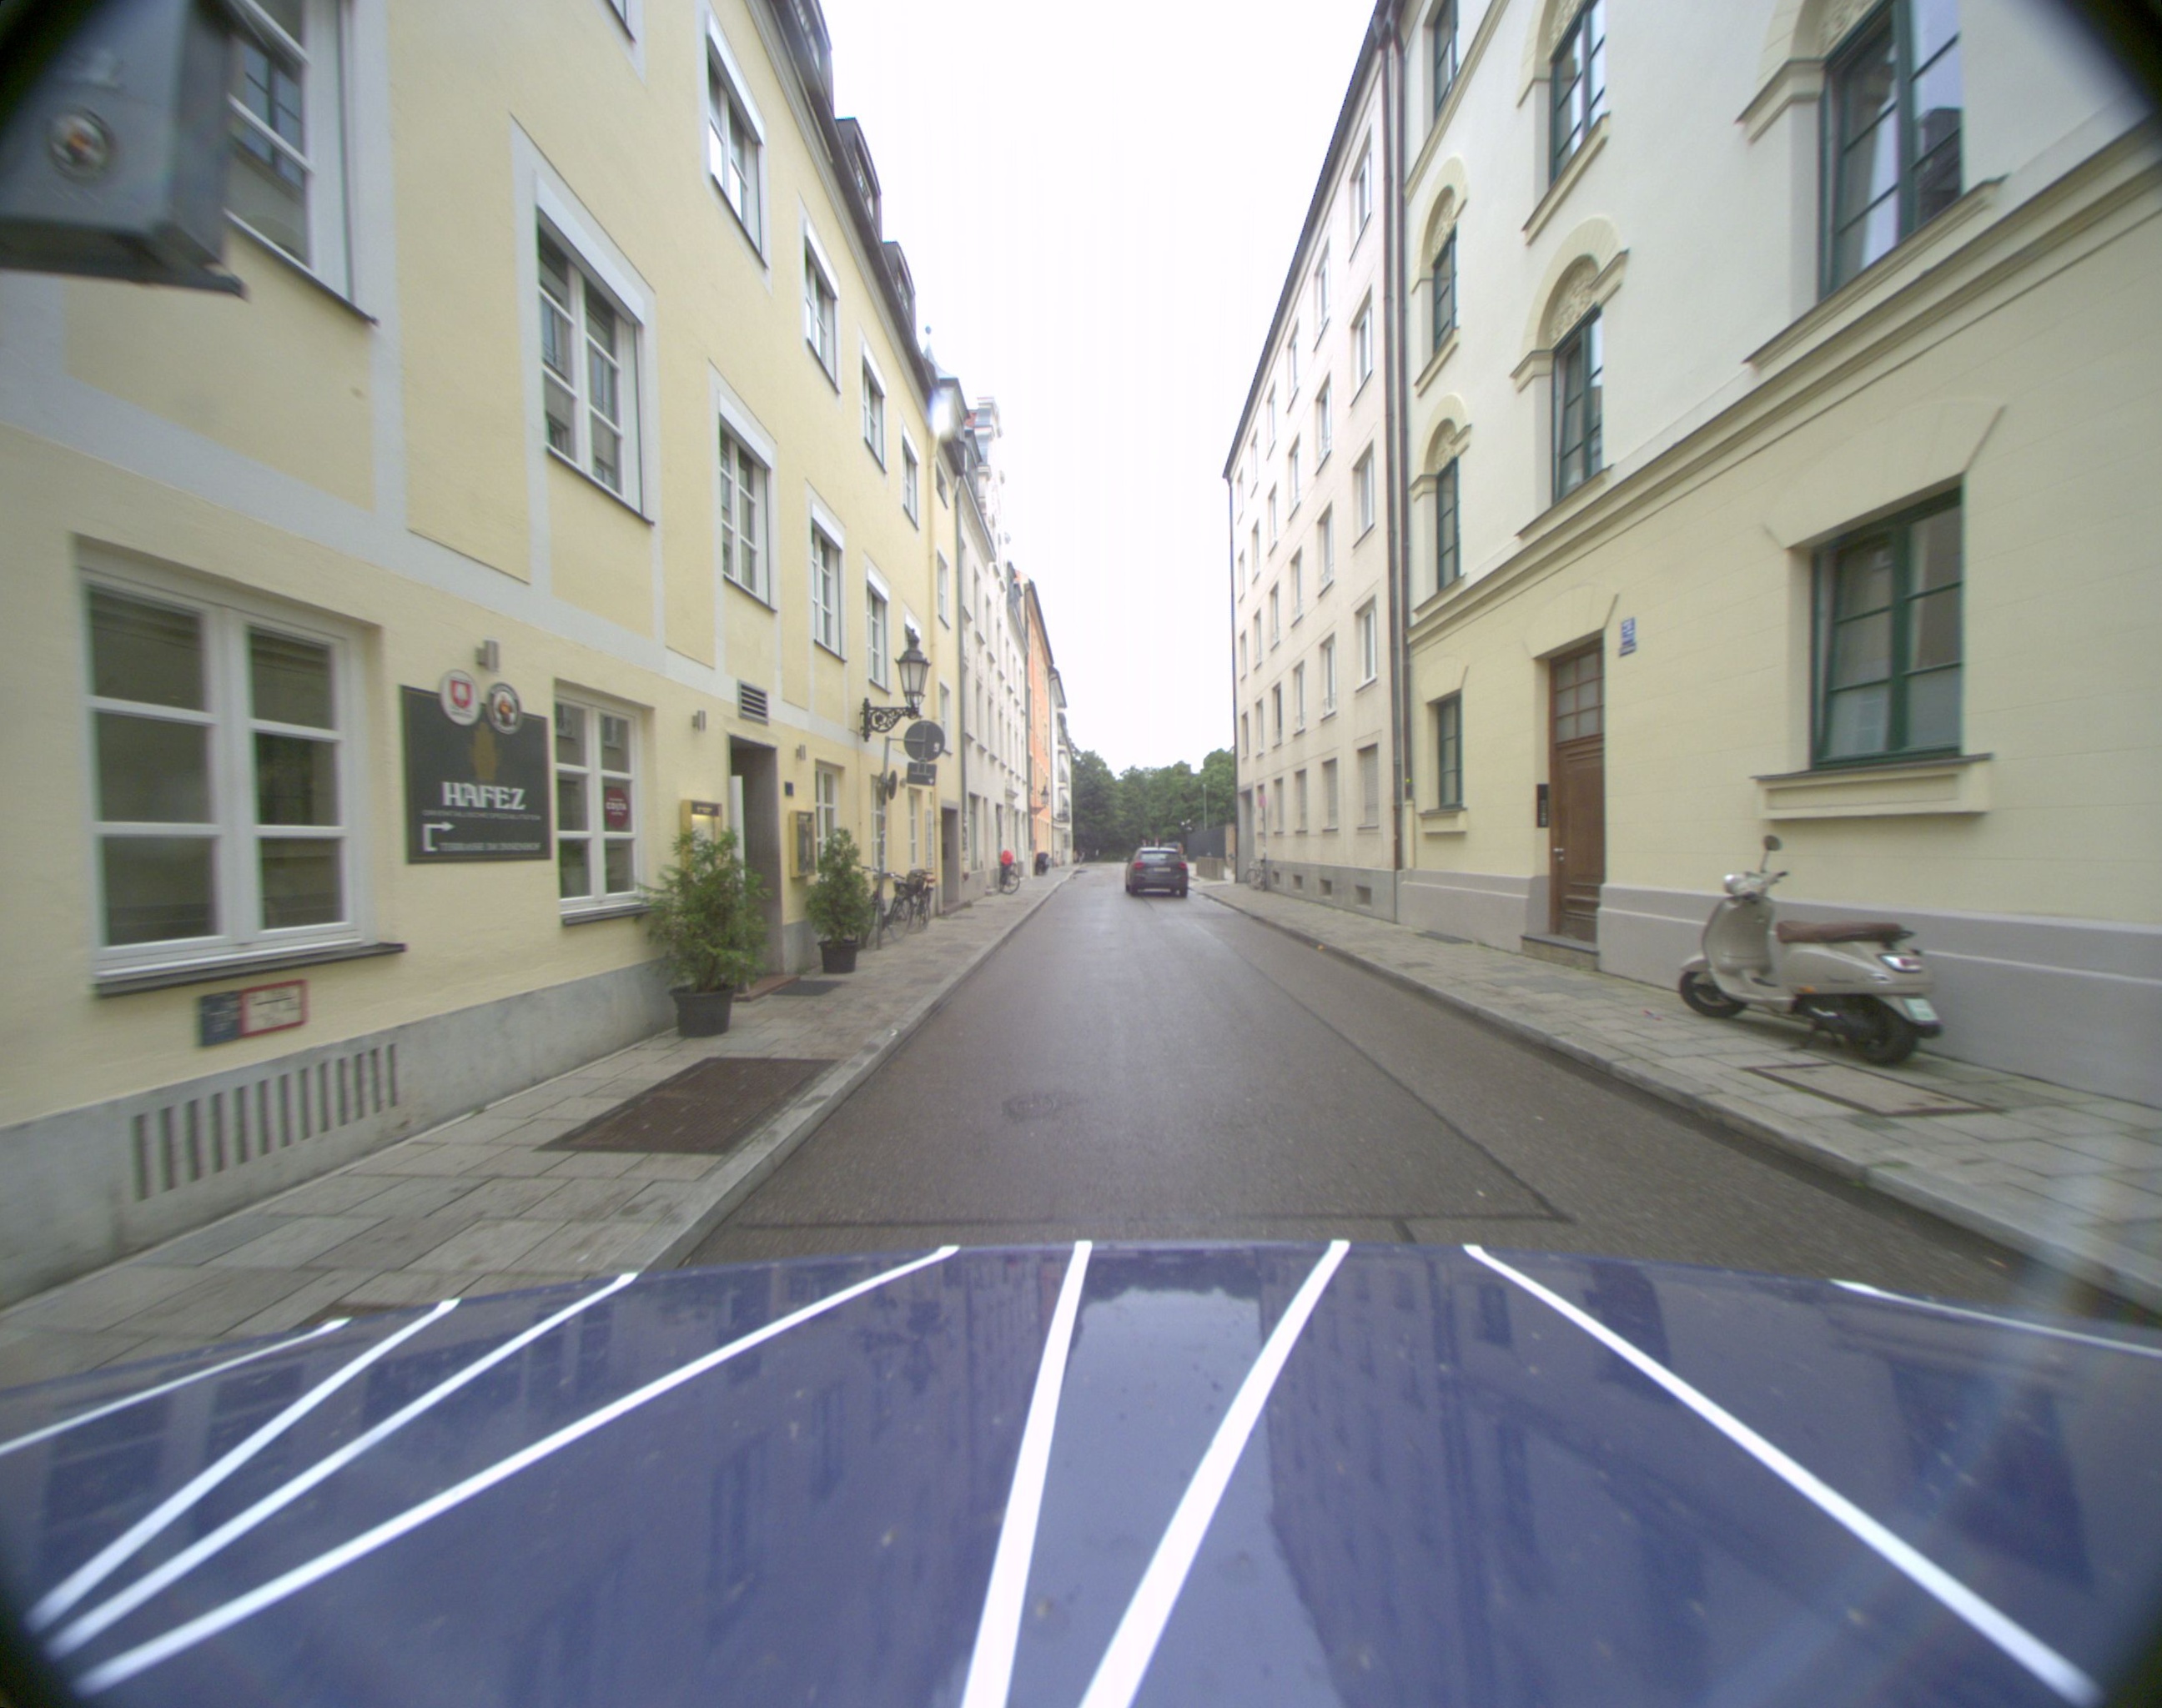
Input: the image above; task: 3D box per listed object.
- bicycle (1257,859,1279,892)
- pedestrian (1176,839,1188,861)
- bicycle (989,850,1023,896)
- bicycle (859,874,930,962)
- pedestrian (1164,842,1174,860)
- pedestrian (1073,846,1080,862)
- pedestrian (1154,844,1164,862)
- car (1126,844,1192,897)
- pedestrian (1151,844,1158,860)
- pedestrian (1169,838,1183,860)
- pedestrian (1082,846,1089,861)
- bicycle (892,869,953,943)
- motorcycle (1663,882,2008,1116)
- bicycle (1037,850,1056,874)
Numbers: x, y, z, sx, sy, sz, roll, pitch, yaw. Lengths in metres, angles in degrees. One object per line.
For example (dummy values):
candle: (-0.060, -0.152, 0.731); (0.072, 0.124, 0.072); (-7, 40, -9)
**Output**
bicycle: (5.758, 0.647, 23.409); (0.320, 0.938, 1.574); (-4, 1, 4)
pedestrian: (8.322, -0.322, 62.656); (0.826, 1.713, 0.906); (-3, 0, 7)
bicycle: (-2.396, 0.570, 24.600); (0.715, 1.388, 2.122); (1, 1, 4)
bicycle: (-2.737, 0.901, 11.304); (0.567, 1.130, 1.684); (1, 1, 3)
pedestrian: (7.885, -0.245, 68.147); (0.778, 1.531, 0.933); (-3, 0, 9)
pedestrian: (-0.452, -0.002, 84.152); (0.753, 1.671, 0.656); (-1, 1, 0)
pedestrian: (6.453, -0.100, 62.924); (0.640, 1.459, 1.079); (-3, 0, 2)
car: (2.463, 0.475, 24.802); (1.816, 1.584, 4.000); (-1, 1, 1)
pedestrian: (8.463, -0.210, 87.488); (0.625, 1.758, 0.766); (-1, 1, 1)
pedestrian: (9.271, -0.481, 74.283); (1.226, 2.092, 1.117); (-1, 1, 4)
pedestrian: (0.468, -0.043, 84.248); (0.753, 1.726, 0.853); (-1, 1, 0)
bicycle: (-2.779, 0.877, 13.526); (0.567, 1.130, 1.987); (1, 1, 3)
motorcycle: (4.748, 0.822, 4.978); (0.603, 1.167, 1.708); (-2, 1, 2)
bicycle: (-1.877, 0.405, 41.536); (0.681, 1.233, 2.382); (3, 1, 3)
